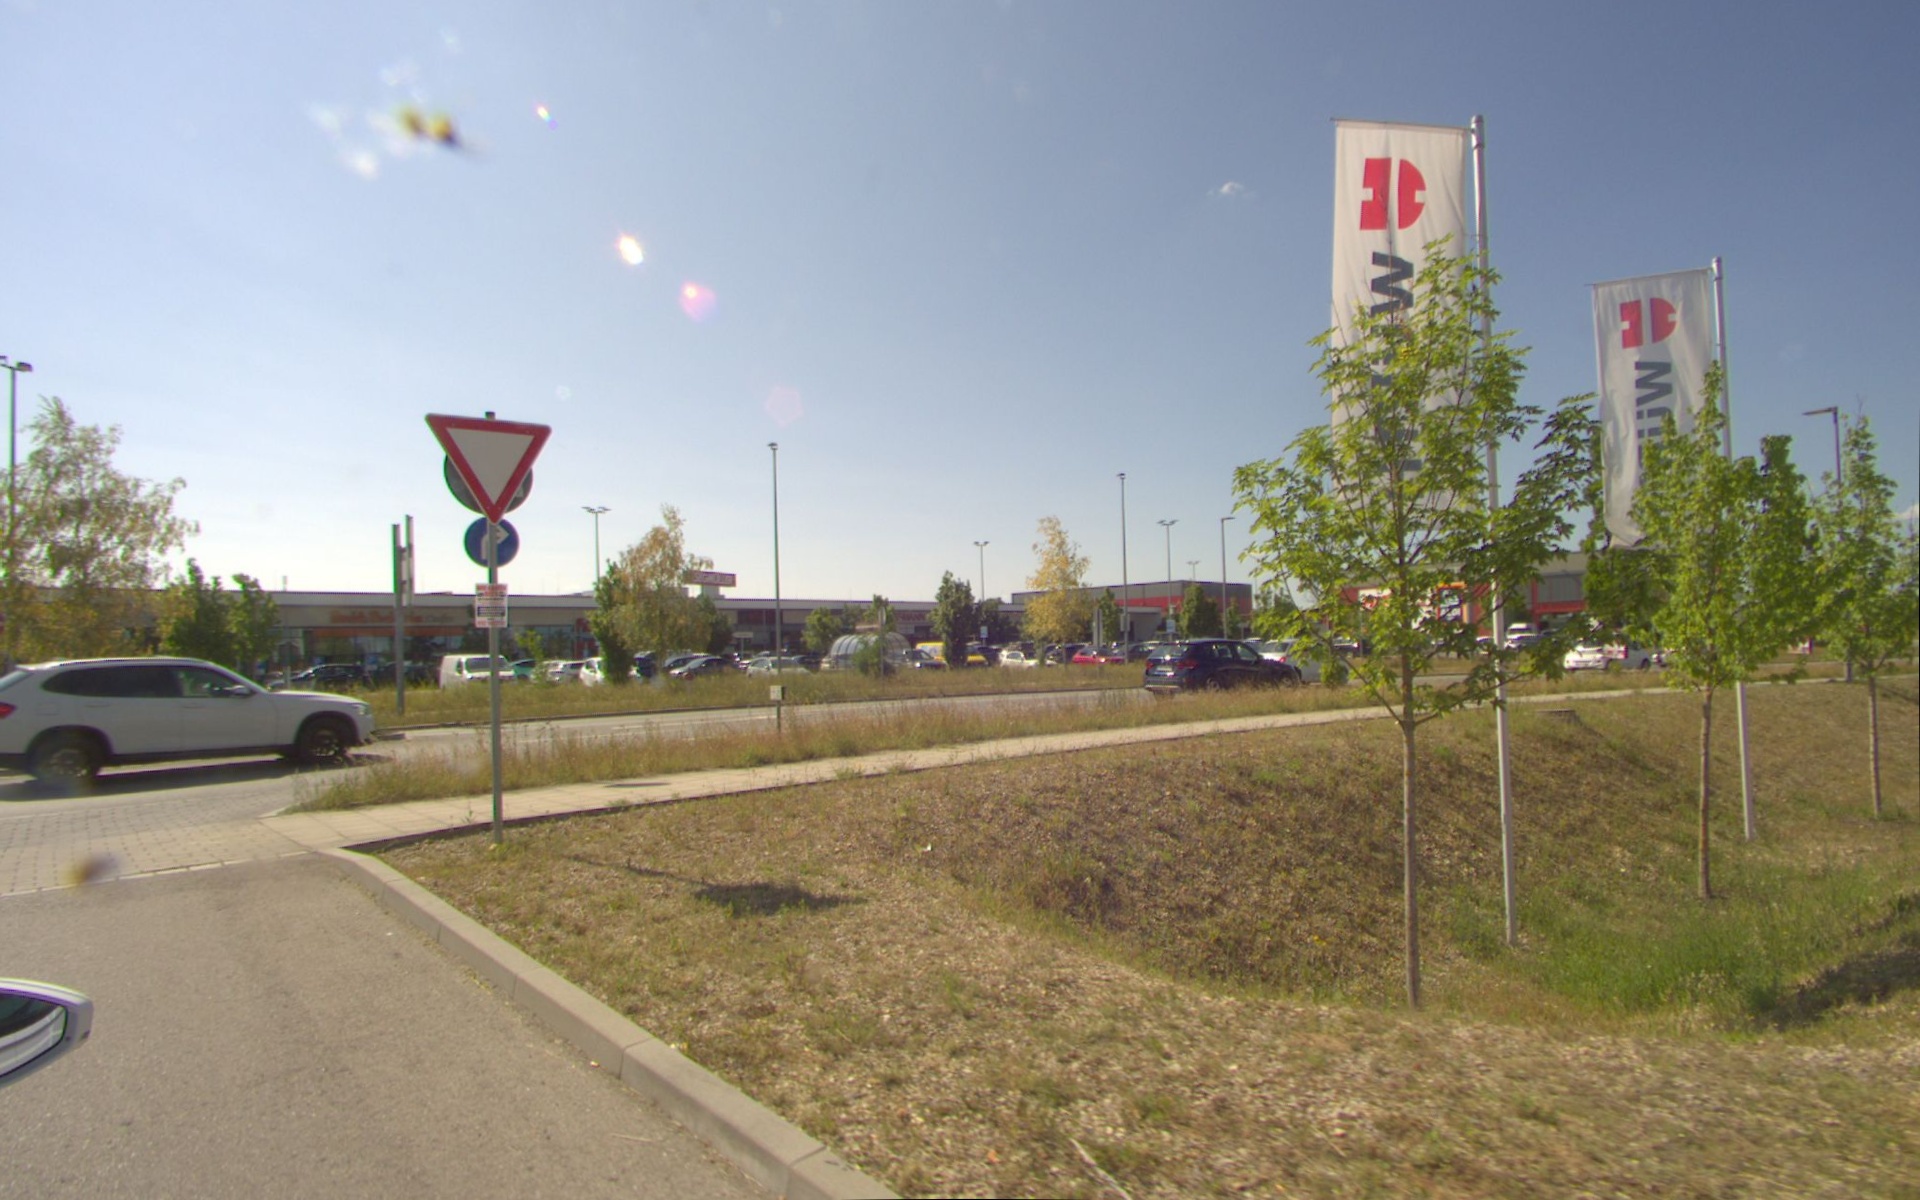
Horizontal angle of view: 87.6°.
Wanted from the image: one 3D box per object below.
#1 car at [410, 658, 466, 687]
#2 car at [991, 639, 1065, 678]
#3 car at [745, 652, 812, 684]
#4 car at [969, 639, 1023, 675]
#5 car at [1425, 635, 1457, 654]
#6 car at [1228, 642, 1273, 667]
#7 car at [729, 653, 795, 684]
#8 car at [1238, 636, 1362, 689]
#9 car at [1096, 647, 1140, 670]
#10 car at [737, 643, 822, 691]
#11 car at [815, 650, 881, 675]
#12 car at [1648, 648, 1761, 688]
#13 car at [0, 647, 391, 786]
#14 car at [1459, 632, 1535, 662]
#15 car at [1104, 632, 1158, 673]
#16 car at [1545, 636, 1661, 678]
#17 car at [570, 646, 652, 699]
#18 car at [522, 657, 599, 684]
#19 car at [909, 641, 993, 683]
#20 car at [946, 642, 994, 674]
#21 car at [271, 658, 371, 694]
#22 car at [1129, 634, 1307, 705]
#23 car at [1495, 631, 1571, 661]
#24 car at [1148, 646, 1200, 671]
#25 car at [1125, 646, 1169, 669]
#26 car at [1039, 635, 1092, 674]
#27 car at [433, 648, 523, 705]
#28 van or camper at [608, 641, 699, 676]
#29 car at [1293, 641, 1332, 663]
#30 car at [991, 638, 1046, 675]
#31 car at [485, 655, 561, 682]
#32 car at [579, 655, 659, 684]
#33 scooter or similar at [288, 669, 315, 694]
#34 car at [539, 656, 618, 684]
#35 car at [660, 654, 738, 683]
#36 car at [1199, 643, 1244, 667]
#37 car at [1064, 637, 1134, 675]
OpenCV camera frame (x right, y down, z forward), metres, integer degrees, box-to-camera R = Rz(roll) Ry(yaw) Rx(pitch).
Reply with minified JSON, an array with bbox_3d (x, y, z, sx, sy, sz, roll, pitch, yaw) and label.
[{"bbox_3d":[-33.573,4.656,64.367,3.958,1.728,1.983,-4,-3,42],"label":"car"},{"bbox_3d":[3.669,3.193,54.906,1.916,2.038,4.390,0,-3,-30],"label":"car"},{"bbox_3d":[-13.064,4.902,72.251,4.440,2.128,1.983,1,-4,-43],"label":"car"},{"bbox_3d":[2.992,4.683,82.320,1.980,2.856,4.446,-4,-4,43],"label":"car"},{"bbox_3d":[53.517,4.971,111.411,1.980,2.062,4.446,-4,-4,43],"label":"car"},{"bbox_3d":[25.558,4.759,87.937,1.980,2.062,4.446,-4,-4,43],"label":"car"},{"bbox_3d":[-14.711,5.074,74.418,4.440,2.149,1.983,1,-4,-43],"label":"car"},{"bbox_3d":[10.868,1.984,31.965,3.732,1.570,1.733,0,-4,-32],"label":"car"},{"bbox_3d":[15.186,5.581,96.296,1.980,2.062,4.446,-4,-4,43],"label":"car"},{"bbox_3d":[-8.502,3.116,46.733,2.135,2.038,5.089,0,-3,-33],"label":"car"},{"bbox_3d":[-7.401,4.118,66.587,1.640,1.538,4.310,-5,-4,45],"label":"car"},{"bbox_3d":[32.641,2.982,43.886,4.686,1.570,1.941,0,-3,-25],"label":"car"},{"bbox_3d":[-10.514,1.478,13.623,1.723,1.570,4.534,-4,-4,41],"label":"car"},{"bbox_3d":[38.996,3.429,72.799,1.975,2.062,4.458,0,-4,-35],"label":"car"},{"bbox_3d":[12.417,3.813,72.724,1.976,2.856,4.456,-4,-4,37],"label":"car"},{"bbox_3d":[26.206,2.310,40.801,4.691,1.570,1.939,0,-4,-29],"label":"car"},{"bbox_3d":[-14.758,3.020,42.166,2.135,2.038,5.089,0,-3,-33],"label":"car"},{"bbox_3d":[-22.649,3.978,56.847,1.712,1.408,3.704,-4,-3,40],"label":"car"},{"bbox_3d":[-0.541,3.217,52.201,2.133,2.038,5.093,0,-3,-30],"label":"car"},{"bbox_3d":[0.951,5.363,92.390,1.980,2.856,4.446,-4,-4,43],"label":"car"},{"bbox_3d":[-30.623,3.631,48.034,1.714,1.527,3.773,-4,-3,43],"label":"car"},{"bbox_3d":[6.442,1.685,24.852,4.332,1.570,1.903,1,-4,-35],"label":"car"},{"bbox_3d":[43.150,3.472,75.486,1.975,2.062,4.458,0,-4,-35],"label":"car"},{"bbox_3d":[16.544,4.502,77.346,1.980,1.806,4.278,-4,-4,43],"label":"car"},{"bbox_3d":[17.719,5.399,94.564,1.980,2.062,4.446,-4,-4,43],"label":"car"},{"bbox_3d":[8.047,4.142,75.971,1.976,2.856,4.456,-4,-4,37],"label":"car"},{"bbox_3d":[-18.789,2.935,38.915,2.064,2.038,5.190,0,-3,-39],"label":"car"},{"bbox_3d":[-18.825,3.589,61.620,1.981,2.039,5.005,-3,-3,45],"label":"van or camper"},{"bbox_3d":[34.676,5.137,98.457,1.980,2.062,4.446,-4,-4,43],"label":"car"},{"bbox_3d":[4.697,4.483,79.892,1.980,2.856,4.446,-4,-4,43],"label":"car"},{"bbox_3d":[-25.361,3.984,58.160,1.712,1.408,3.704,-4,-3,40],"label":"car"},{"bbox_3d":[-18.165,3.695,53.445,1.712,1.408,3.704,-4,-3,40],"label":"car"},{"bbox_3d":[-30.250,3.757,46.010,0.936,1.093,0.646,0,-3,-43],"label":"scooter or similar"},{"bbox_3d":[-20.730,3.797,54.516,1.712,1.408,3.704,-4,-3,40],"label":"car"},{"bbox_3d":[-15.048,3.947,57.765,1.857,1.526,3.964,-5,-4,44],"label":"car"},{"bbox_3d":[23.426,4.930,89.691,1.980,2.062,4.446,-4,-4,43],"label":"car"},{"bbox_3d":[7.895,3.218,57.257,1.855,2.038,4.122,0,-3,-28],"label":"car"}]
